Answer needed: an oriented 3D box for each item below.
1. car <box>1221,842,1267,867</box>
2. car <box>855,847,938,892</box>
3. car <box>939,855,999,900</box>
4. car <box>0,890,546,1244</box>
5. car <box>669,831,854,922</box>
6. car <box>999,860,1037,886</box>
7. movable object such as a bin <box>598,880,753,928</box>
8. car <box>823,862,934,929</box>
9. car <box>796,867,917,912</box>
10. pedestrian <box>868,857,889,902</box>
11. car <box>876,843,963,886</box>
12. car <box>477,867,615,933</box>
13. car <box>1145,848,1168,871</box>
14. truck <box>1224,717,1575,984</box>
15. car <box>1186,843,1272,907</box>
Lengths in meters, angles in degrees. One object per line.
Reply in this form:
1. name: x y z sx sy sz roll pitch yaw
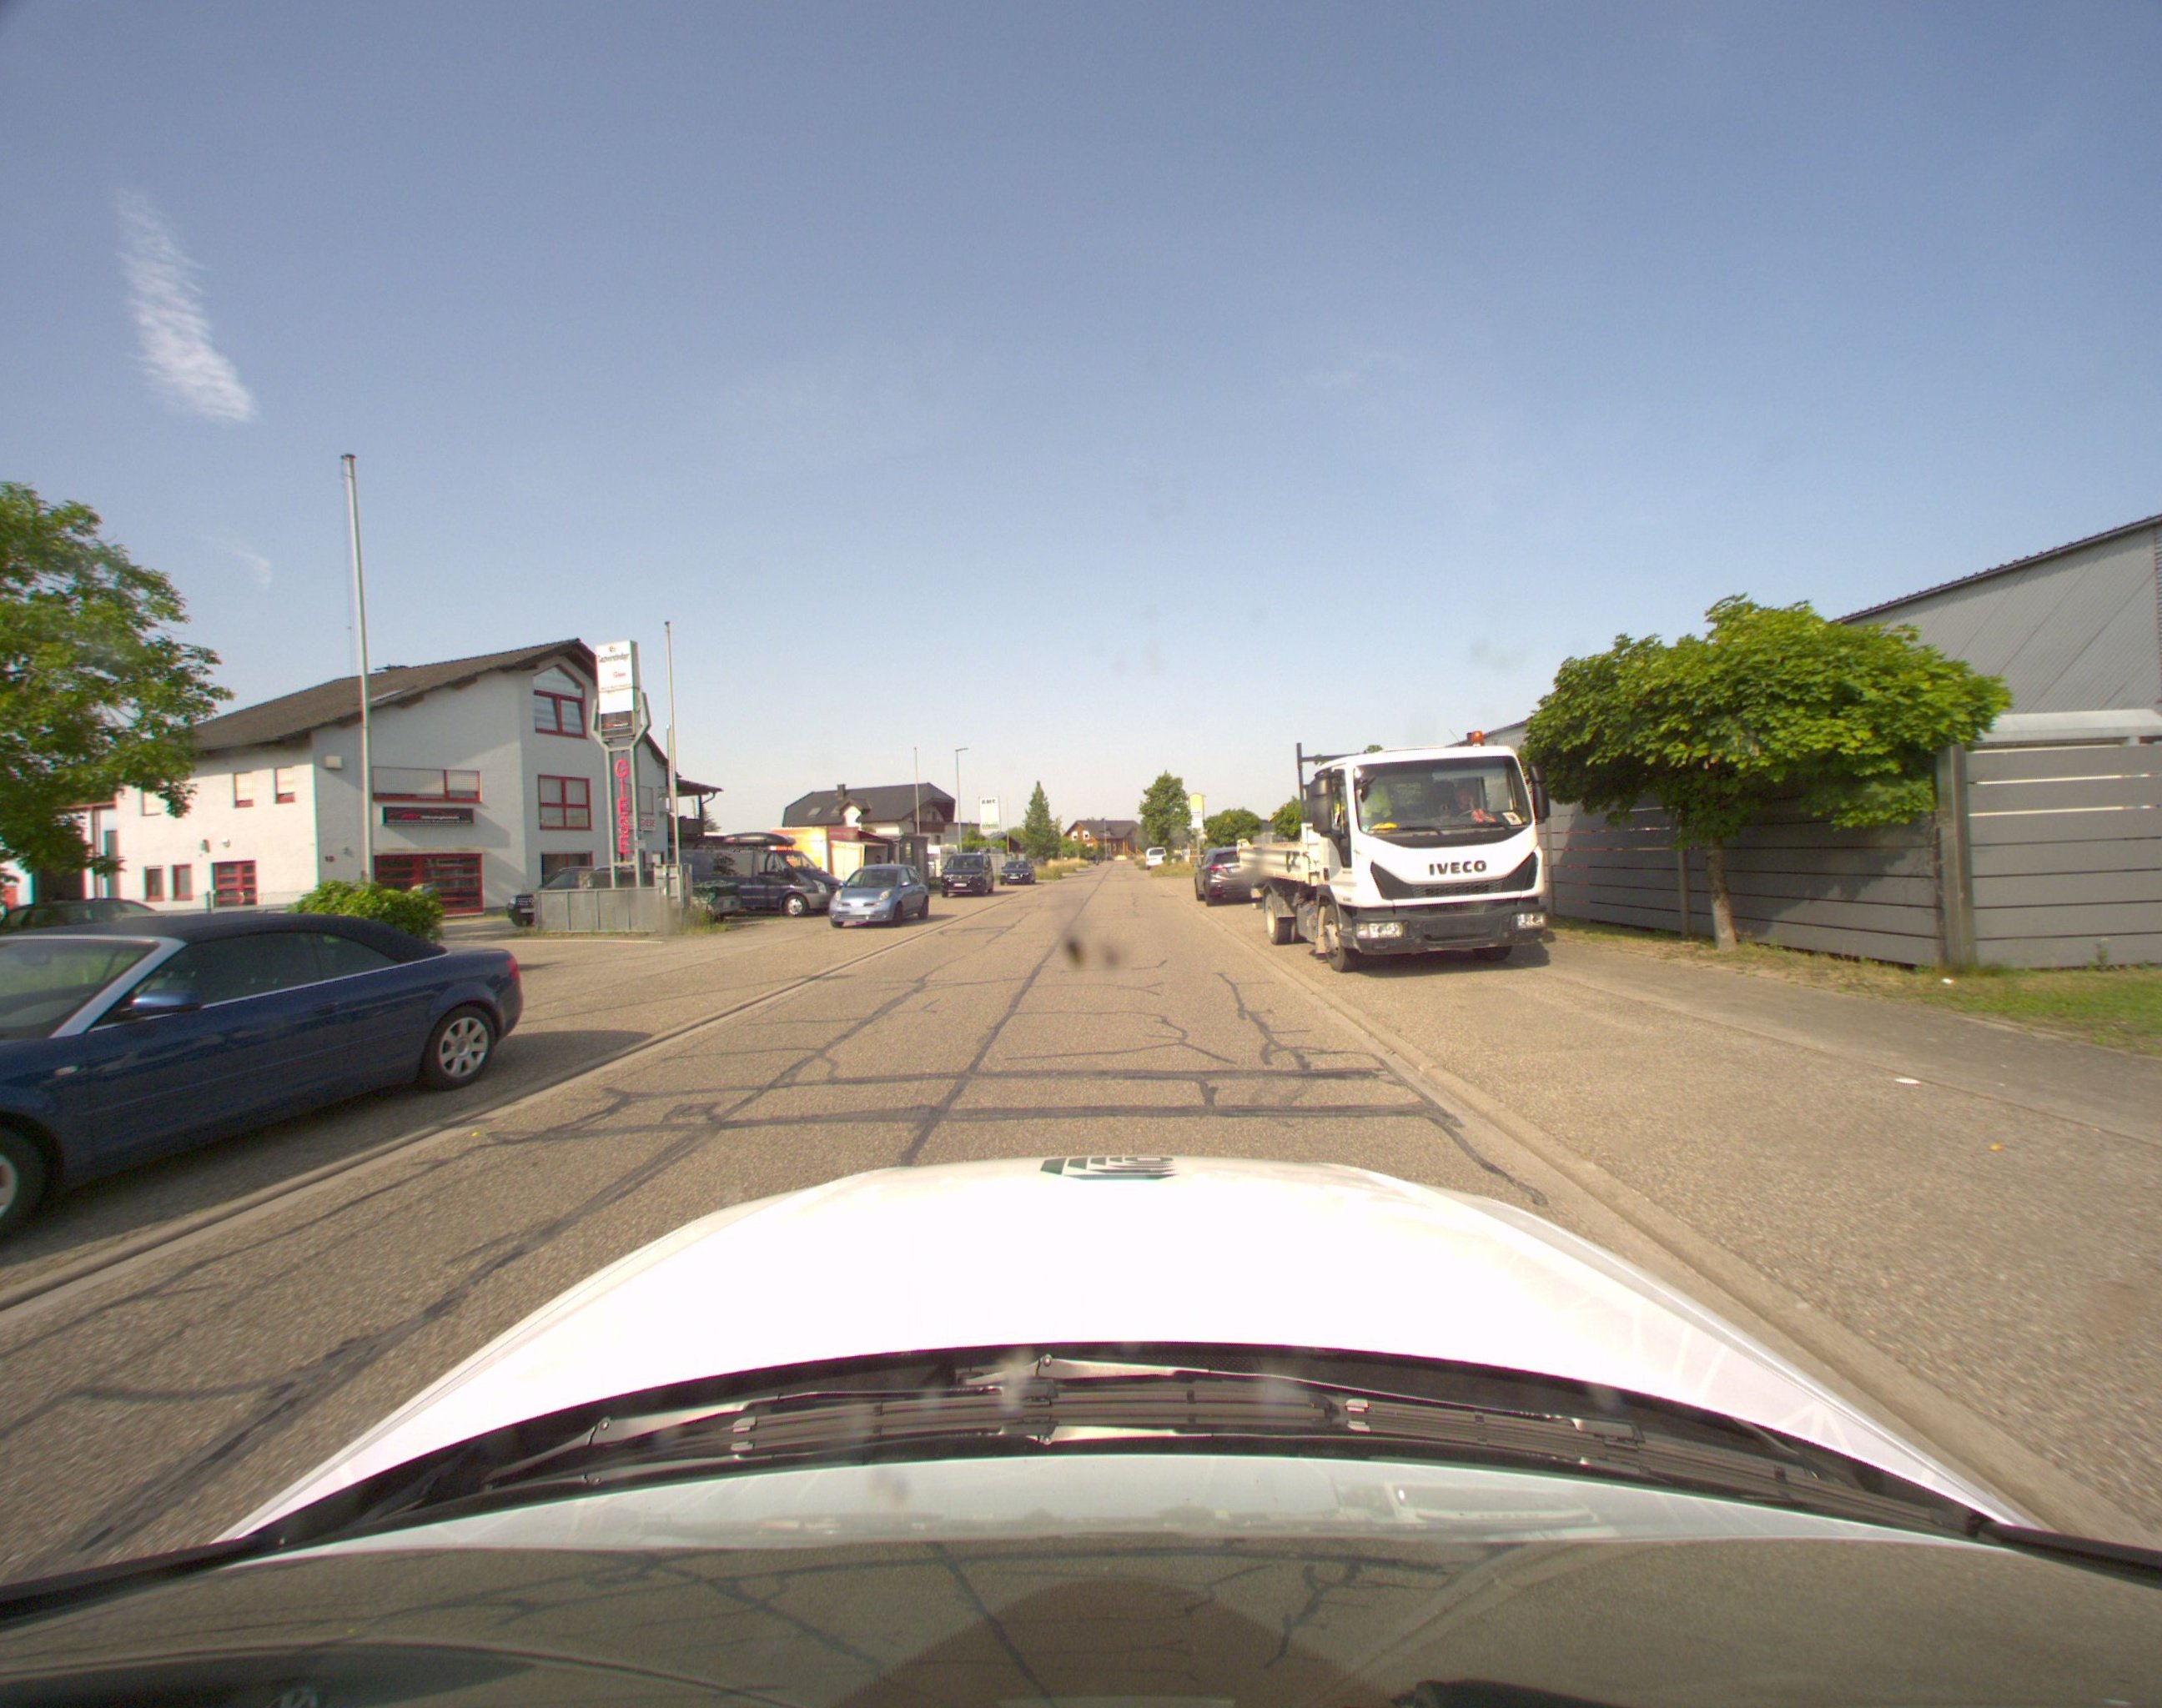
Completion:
1. car: 11.785 0.053 58.772 3.123 1.580 1.396 -4 0 10
2. car: -11.915 1.025 52.601 4.760 2.586 2.157 -4 0 23
3. car: -4.740 0.937 34.955 1.793 1.774 4.205 -1 0 2
4. car: -5.455 1.014 4.741 1.627 1.387 4.372 -1 0 2
5. car: -9.414 0.650 24.262 4.605 2.416 2.003 -3 0 4
6. car: -3.659 1.097 47.663 1.793 1.386 3.640 -1 0 2
7. movable object such as a bin: -10.883 1.341 21.973 3.301 1.147 1.767 -1 0 11
8. car: -5.094 0.997 20.925 1.625 1.517 3.611 -1 0 5
9. car: -7.582 1.182 27.747 3.577 1.414 1.761 -1 0 -1
10. pedestrian: -7.976 1.008 32.020 0.566 1.715 0.528 -3 0 -35
11. car: -11.128 0.732 56.126 5.111 2.586 2.591 -4 0 23
12. car: -15.694 1.288 24.106 1.539 1.662 3.479 -3 0 4
13. car: 6.764 0.454 73.574 1.830 1.924 3.759 -3 0 3
14. truck: 3.918 -0.037 11.794 2.352 2.681 6.508 -3 0 -1
15. car: 4.189 0.578 23.663 1.788 1.560 4.001 -4 -1 2
